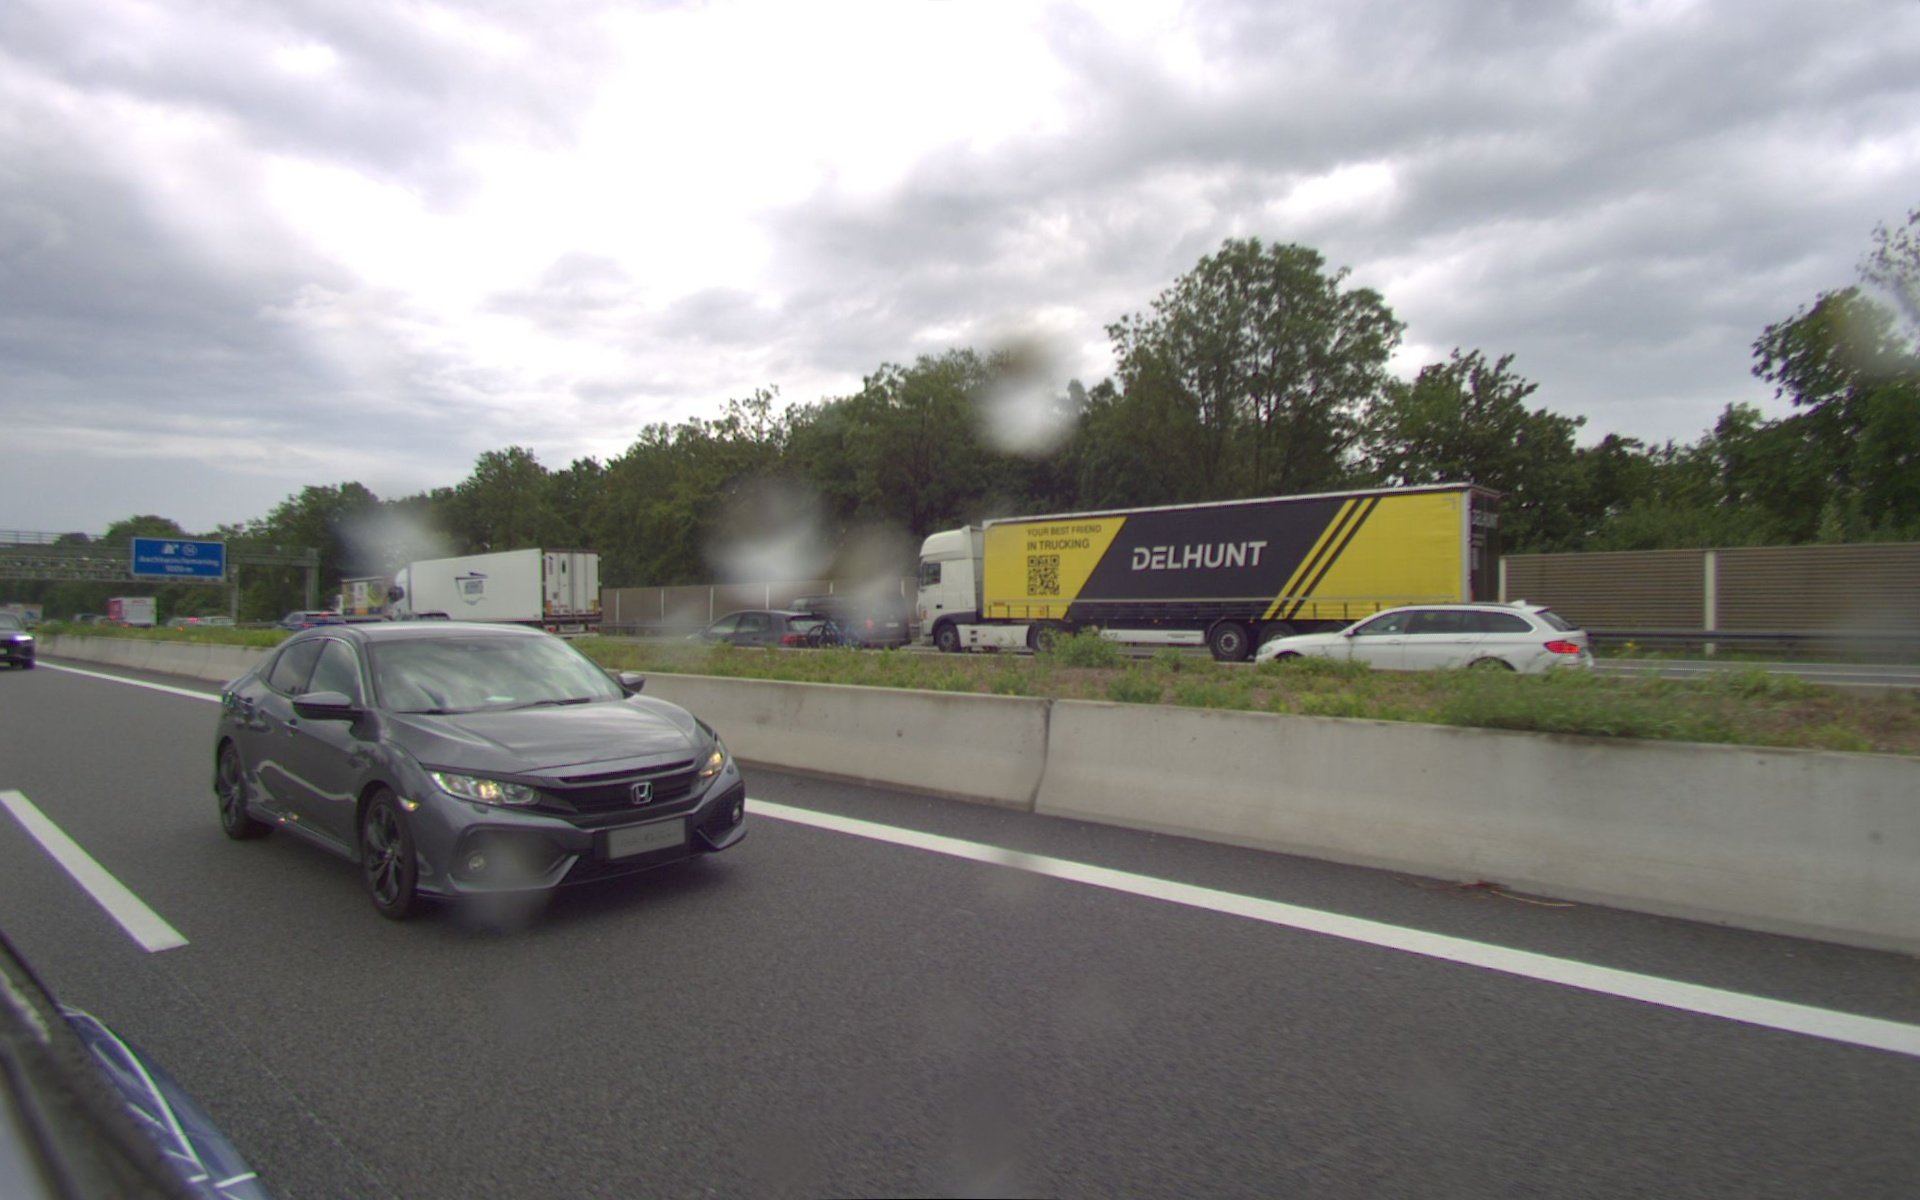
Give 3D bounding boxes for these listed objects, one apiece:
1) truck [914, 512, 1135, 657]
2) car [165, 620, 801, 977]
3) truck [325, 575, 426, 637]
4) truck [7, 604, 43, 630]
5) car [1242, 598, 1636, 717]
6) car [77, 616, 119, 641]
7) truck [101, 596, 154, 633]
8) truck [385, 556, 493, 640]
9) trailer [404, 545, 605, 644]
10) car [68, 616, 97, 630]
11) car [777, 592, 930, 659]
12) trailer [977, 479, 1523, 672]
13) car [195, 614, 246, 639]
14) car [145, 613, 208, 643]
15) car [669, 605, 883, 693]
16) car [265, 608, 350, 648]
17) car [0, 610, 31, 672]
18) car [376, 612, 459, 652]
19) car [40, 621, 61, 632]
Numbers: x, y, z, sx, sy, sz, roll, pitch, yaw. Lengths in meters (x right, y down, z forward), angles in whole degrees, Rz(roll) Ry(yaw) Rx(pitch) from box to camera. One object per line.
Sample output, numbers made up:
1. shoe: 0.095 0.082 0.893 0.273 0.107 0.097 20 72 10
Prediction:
1. truck: 1.848 -0.408 30.941 6.441 3.993 2.649 -1 0 42
2. car: -3.308 0.833 6.340 5.057 1.379 1.742 -1 -1 41
3. truck: -39.585 0.410 68.335 10.003 3.863 2.770 -1 0 41
4. truck: -153.846 2.766 166.465 10.838 4.059 3.161 -1 0 41
5. car: 7.216 0.780 15.676 5.238 1.548 1.747 -1 0 41
6. car: -56.680 1.862 66.518 3.546 1.548 1.572 -1 0 41
7. truck: -67.242 1.146 81.676 6.246 2.849 2.305 -1 0 41
8. truck: -25.890 -0.079 50.217 6.001 3.915 2.697 -1 0 41
9. trailer: -21.034 -0.170 45.963 14.045 3.915 2.697 -1 0 41
10. car: -98.492 2.580 113.595 3.998 1.548 1.973 -1 0 41
11. car: -3.361 0.754 31.212 5.037 1.909 1.747 -1 0 41
12. trailer: 6.625 -0.467 26.629 14.048 3.993 2.649 -1 0 42
13. car: -49.079 1.755 67.133 4.581 1.548 1.747 -1 0 41
14. car: -42.376 1.490 54.702 3.998 1.548 1.973 -1 0 41
15. car: -3.786 0.897 20.286 4.581 1.548 1.747 -1 0 41
16. car: -27.031 1.111 41.871 4.581 1.548 1.747 -1 0 41
17. car: -28.185 1.140 29.074 5.170 1.704 1.887 -1 0 44
18. car: -22.528 1.287 41.991 3.998 1.548 1.740 -1 0 41
19. car: -136.636 4.012 152.021 3.998 1.548 1.973 -1 0 41
